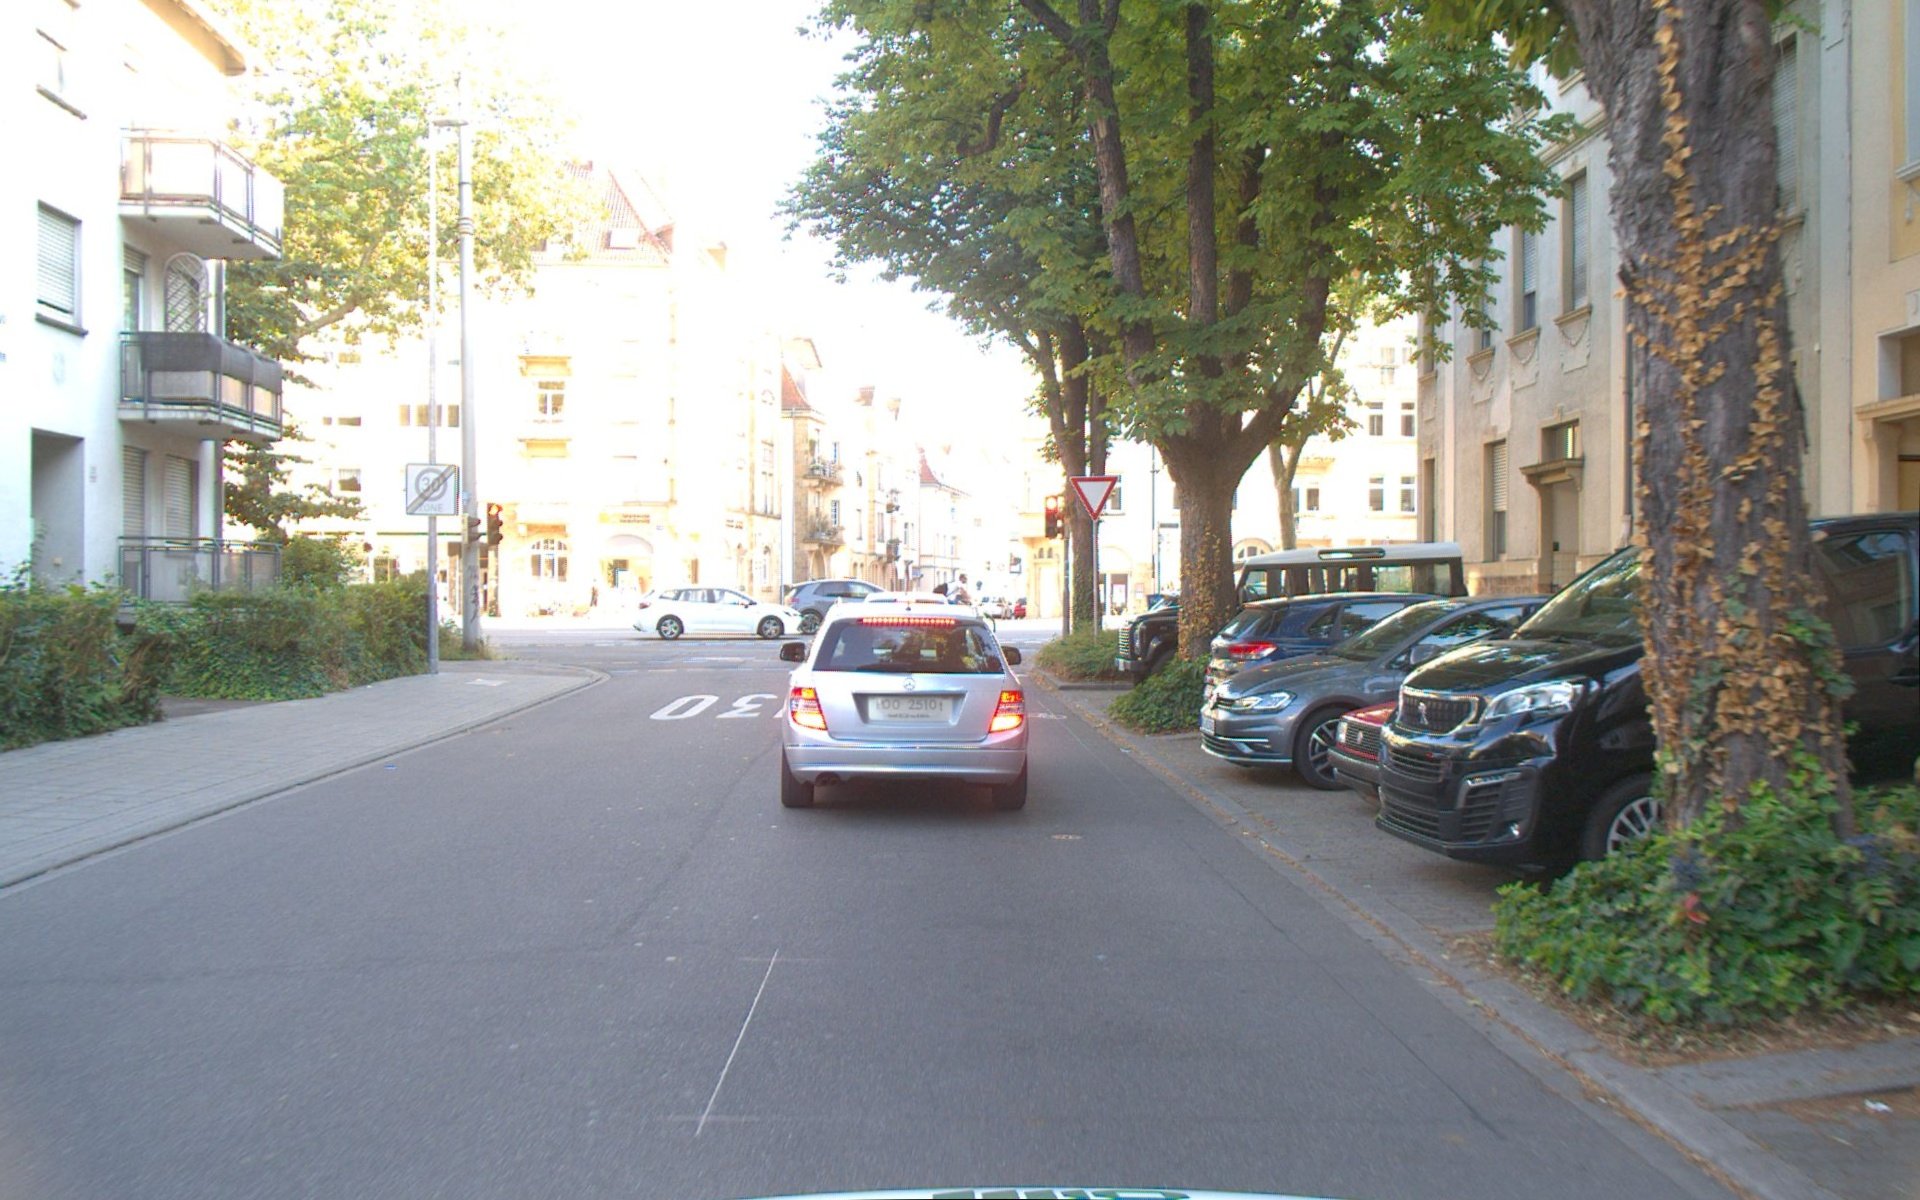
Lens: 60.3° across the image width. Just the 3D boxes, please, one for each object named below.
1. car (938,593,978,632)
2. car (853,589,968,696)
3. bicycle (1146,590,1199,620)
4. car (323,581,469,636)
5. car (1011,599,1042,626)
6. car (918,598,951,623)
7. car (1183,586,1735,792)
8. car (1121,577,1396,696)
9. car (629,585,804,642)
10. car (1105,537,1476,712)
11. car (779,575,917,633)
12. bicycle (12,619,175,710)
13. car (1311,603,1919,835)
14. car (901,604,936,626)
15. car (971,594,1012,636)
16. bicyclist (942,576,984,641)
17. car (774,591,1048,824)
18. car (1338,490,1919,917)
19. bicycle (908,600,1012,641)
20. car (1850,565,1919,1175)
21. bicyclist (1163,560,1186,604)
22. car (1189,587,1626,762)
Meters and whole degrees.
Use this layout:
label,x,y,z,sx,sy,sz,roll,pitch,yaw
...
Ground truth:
label,x,y,z,sx,sy,sz,roll,pitch,yaw
car,-0.090,0.746,103.048,1.987,2.319,4.003,0,1,7
car,-0.780,0.578,25.141,1.587,1.472,4.342,1,0,-3
bicycle,9.205,0.201,71.578,2.212,1.268,0.636,0,0,-6
car,-15.656,0.232,46.019,3.619,1.475,1.513,0,0,-9
car,4.579,0.832,113.122,1.796,1.775,4.003,0,1,7
car,-1.835,0.761,119.828,1.796,1.692,4.003,0,1,7
car,3.976,0.671,13.558,3.973,1.477,1.721,-1,0,-5
car,4.325,0.514,24.281,3.650,1.597,1.707,-1,0,-5
car,-6.548,0.332,44.483,4.577,1.473,1.735,0,0,-10
car,4.193,0.289,21.342,4.377,2.071,1.699,-1,0,-5
car,-3.270,0.109,47.962,3.892,1.609,1.736,0,0,-9
bicycle,-10.232,0.765,19.566,1.608,1.026,0.510,3,-1,-42
car,4.620,0.739,11.268,4.056,1.338,1.628,-1,0,-6
car,-2.821,1.000,113.519,1.796,1.427,4.003,0,1,7
car,1.879,0.854,97.038,1.987,2.319,4.003,0,1,7
bicyclist,0.070,0.221,43.509,0.979,1.683,0.805,0,0,-12
car,-0.414,0.682,12.868,1.741,1.477,4.546,1,0,-3
car,4.570,0.436,8.714,4.657,1.907,1.895,-1,0,-6
bicycle,0.005,0.533,43.488,2.635,1.058,0.805,0,0,-12
car,4.685,0.641,3.750,4.422,1.550,1.843,-1,0,-6
bicyclist,9.300,-0.794,71.578,0.874,1.892,0.636,0,0,-5
car,4.170,0.662,15.768,3.650,1.477,1.707,-1,0,-5
